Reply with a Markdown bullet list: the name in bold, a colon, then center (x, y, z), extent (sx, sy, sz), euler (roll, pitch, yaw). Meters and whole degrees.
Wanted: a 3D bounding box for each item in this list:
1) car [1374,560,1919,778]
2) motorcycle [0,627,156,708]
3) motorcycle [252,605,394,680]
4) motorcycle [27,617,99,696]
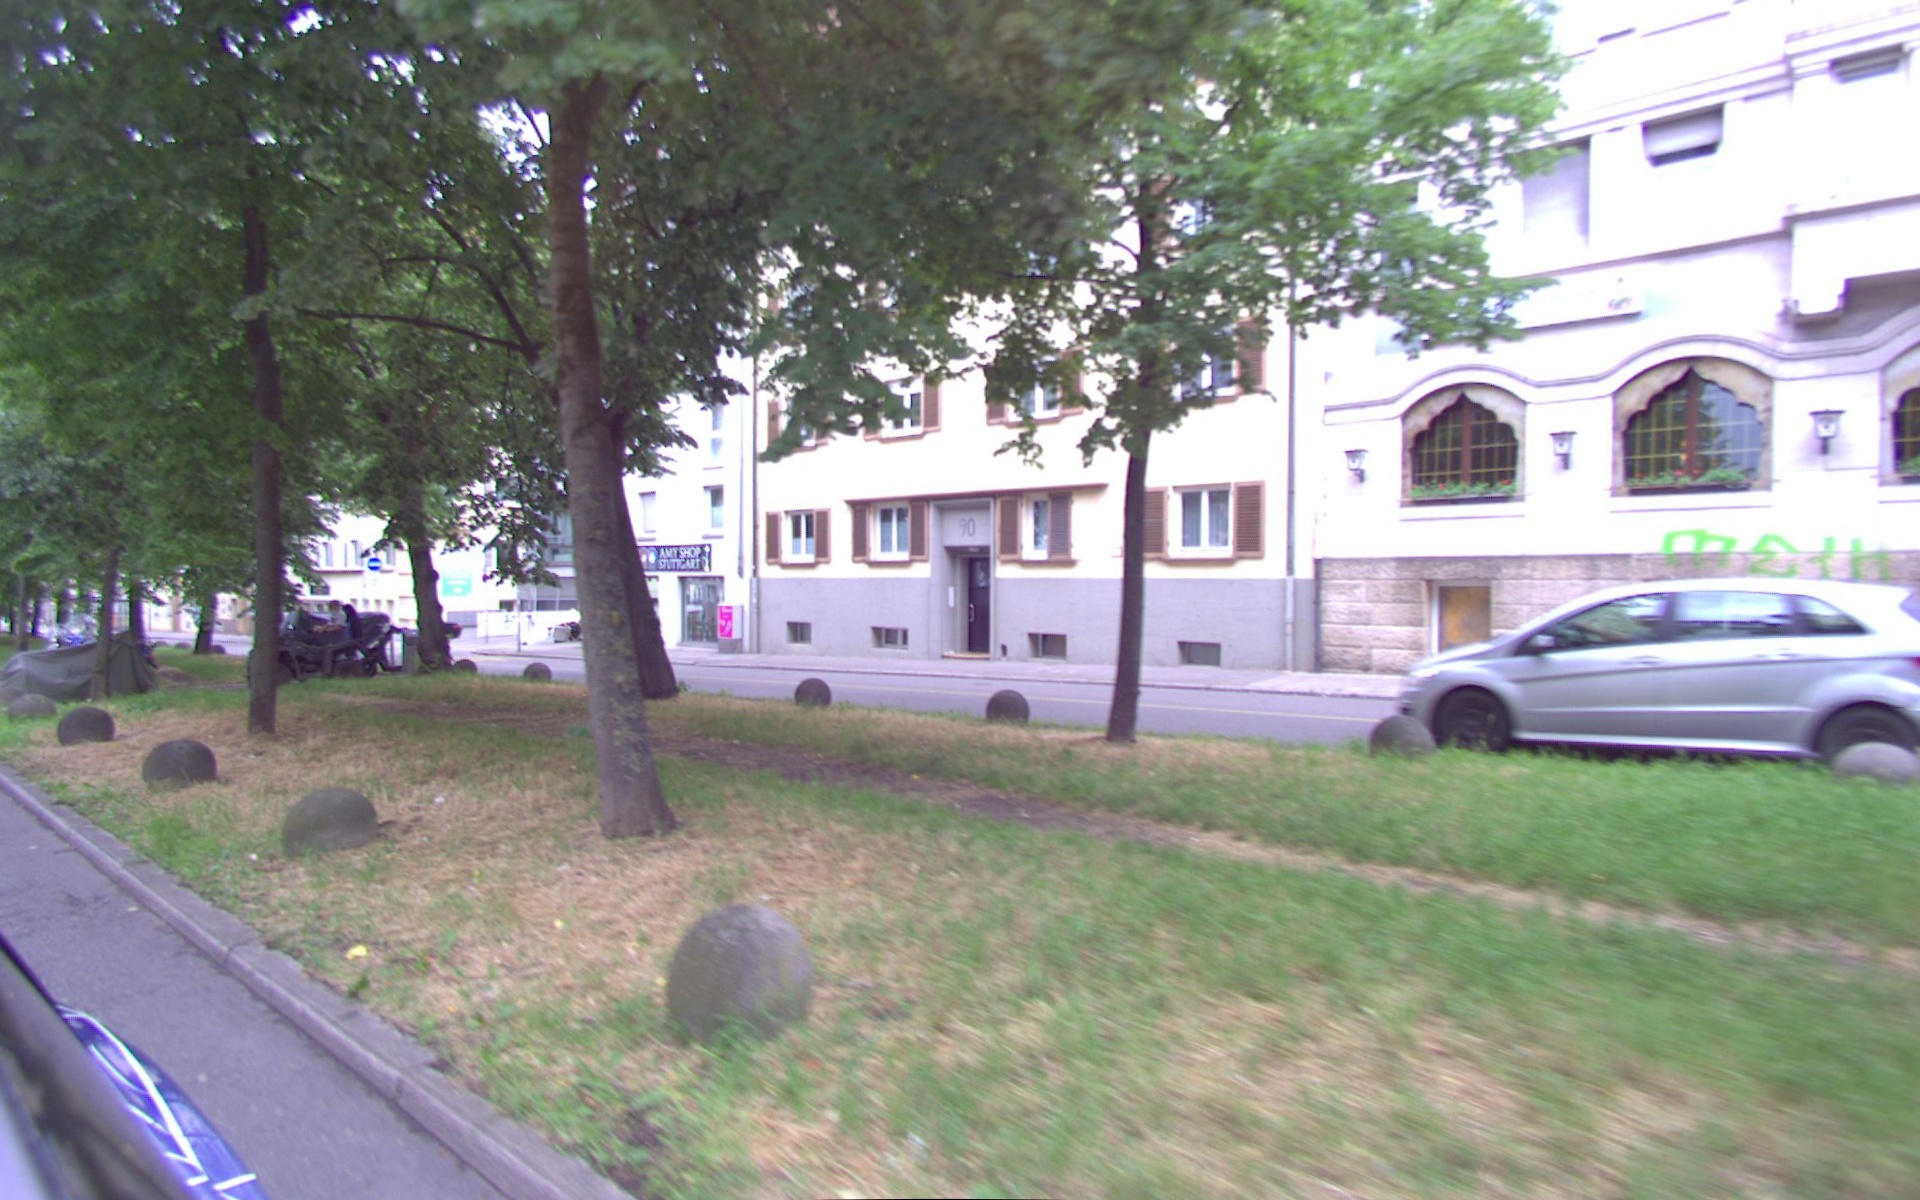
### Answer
- **car**: center (6.206, 0.535, 9.087), extent (4.250, 1.575, 1.795), euler (-2, -1, 40)
- **motorcycle**: center (-14.287, 1.057, 16.307), extent (0.454, 1.140, 2.015), euler (1, 2, 41)
- **motorcycle**: center (-13.723, 0.880, 21.867), extent (0.963, 1.494, 2.393), euler (1, 0, 41)
- **motorcycle**: center (-16.073, 0.990, 18.133), extent (1.622, 1.315, 0.449), euler (1, 2, 30)
